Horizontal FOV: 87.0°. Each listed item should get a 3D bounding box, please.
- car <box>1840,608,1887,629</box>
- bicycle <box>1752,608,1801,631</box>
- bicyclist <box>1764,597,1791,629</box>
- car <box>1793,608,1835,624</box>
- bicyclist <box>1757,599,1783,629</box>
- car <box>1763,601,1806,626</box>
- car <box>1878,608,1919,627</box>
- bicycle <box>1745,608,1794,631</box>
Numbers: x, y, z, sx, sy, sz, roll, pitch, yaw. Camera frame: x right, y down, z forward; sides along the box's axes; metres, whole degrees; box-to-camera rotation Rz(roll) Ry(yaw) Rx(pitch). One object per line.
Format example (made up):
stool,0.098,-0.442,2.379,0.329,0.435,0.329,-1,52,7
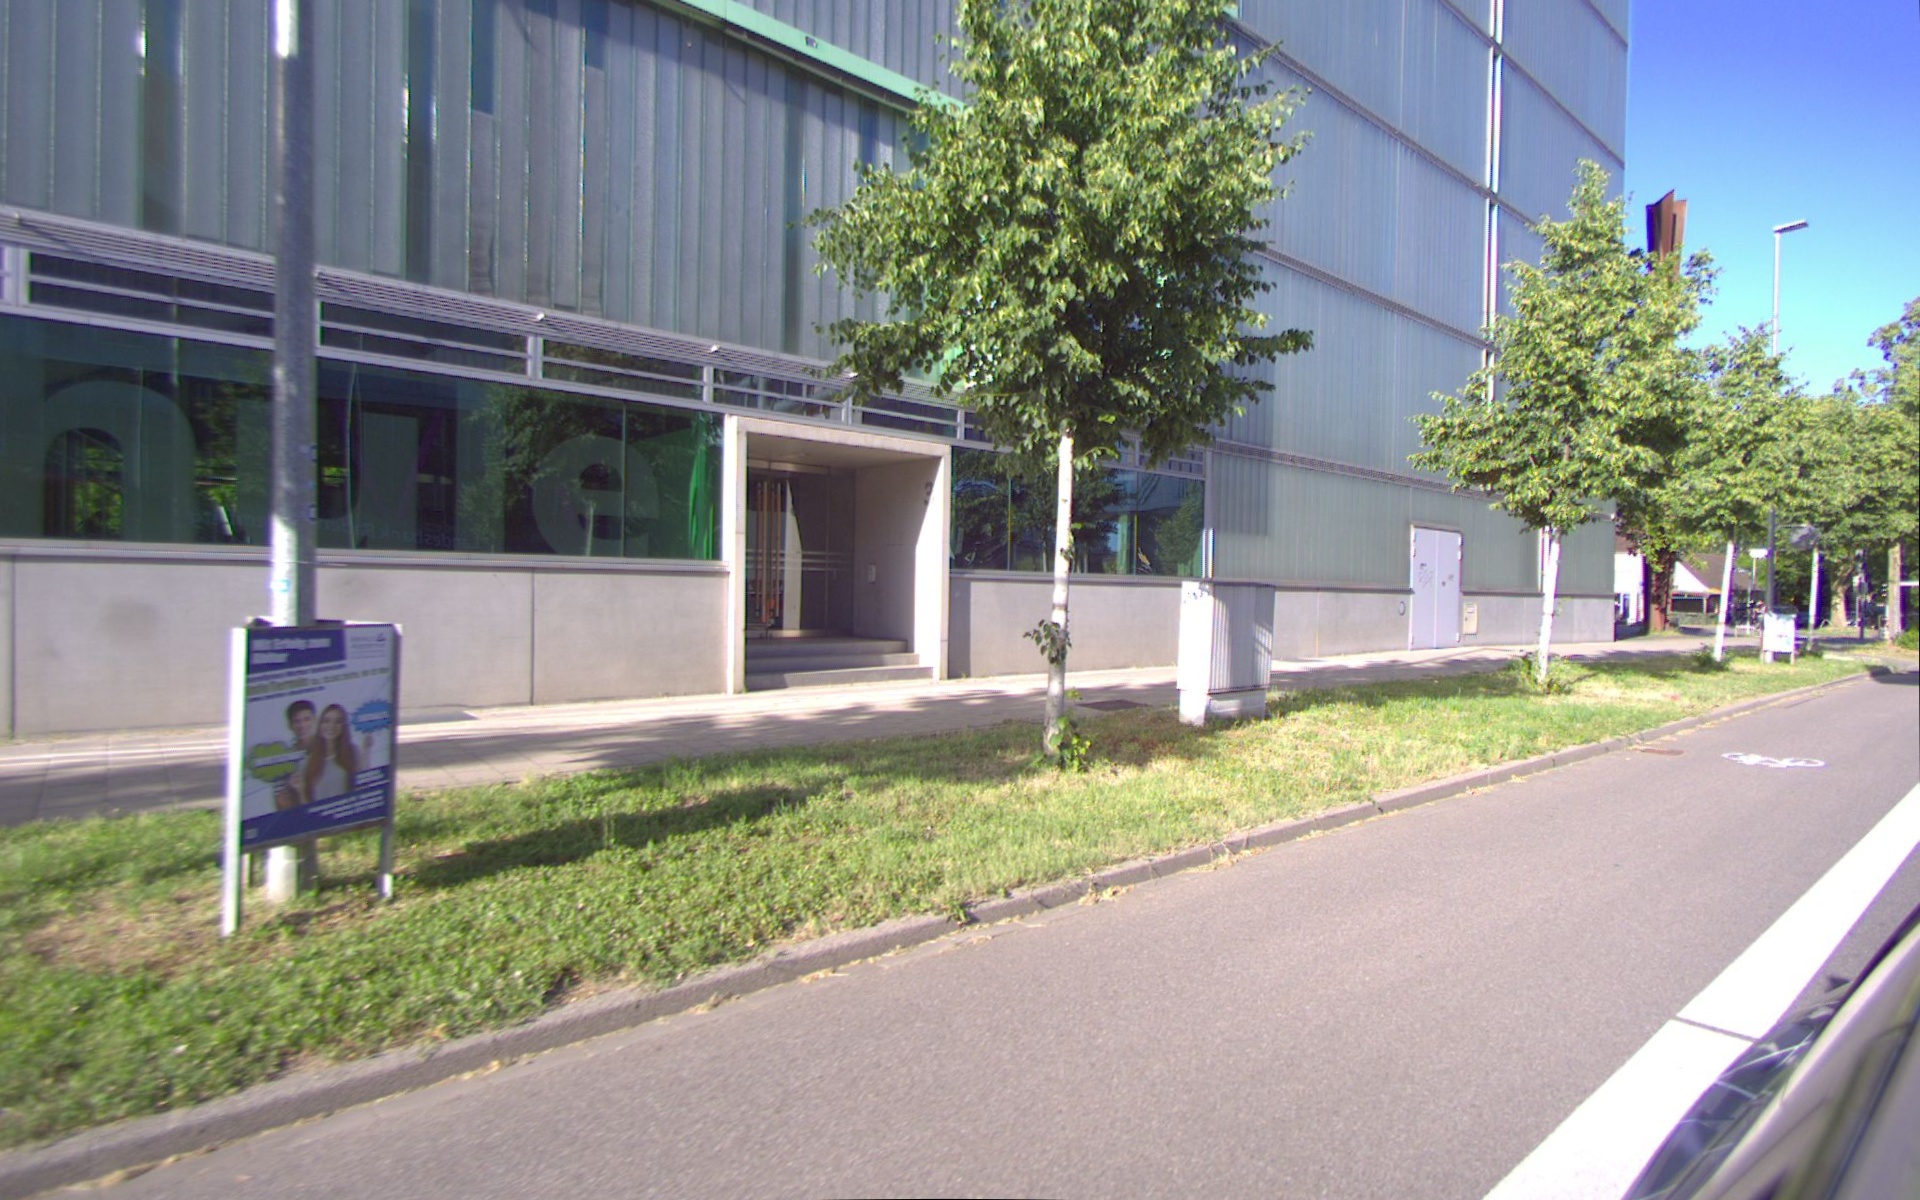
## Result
car,67.256,1.333,75.324,3.962,1.484,1.899,1,0,-38
bicycle,46.333,1.100,57.477,0.540,1.219,2.107,2,0,-28
bicyclist,46.358,0.736,57.398,0.815,1.759,0.878,2,0,-29
car,81.598,1.500,96.698,4.820,1.505,1.900,1,0,-35
bicyclist,45.570,0.775,56.936,0.777,1.674,0.878,2,0,-29
car,73.947,1.183,90.786,4.978,2.062,1.899,1,2,-38
car,77.854,1.466,83.805,4.264,1.507,1.899,1,0,-36
bicycle,45.563,1.092,56.969,0.540,1.219,2.108,2,0,-25
